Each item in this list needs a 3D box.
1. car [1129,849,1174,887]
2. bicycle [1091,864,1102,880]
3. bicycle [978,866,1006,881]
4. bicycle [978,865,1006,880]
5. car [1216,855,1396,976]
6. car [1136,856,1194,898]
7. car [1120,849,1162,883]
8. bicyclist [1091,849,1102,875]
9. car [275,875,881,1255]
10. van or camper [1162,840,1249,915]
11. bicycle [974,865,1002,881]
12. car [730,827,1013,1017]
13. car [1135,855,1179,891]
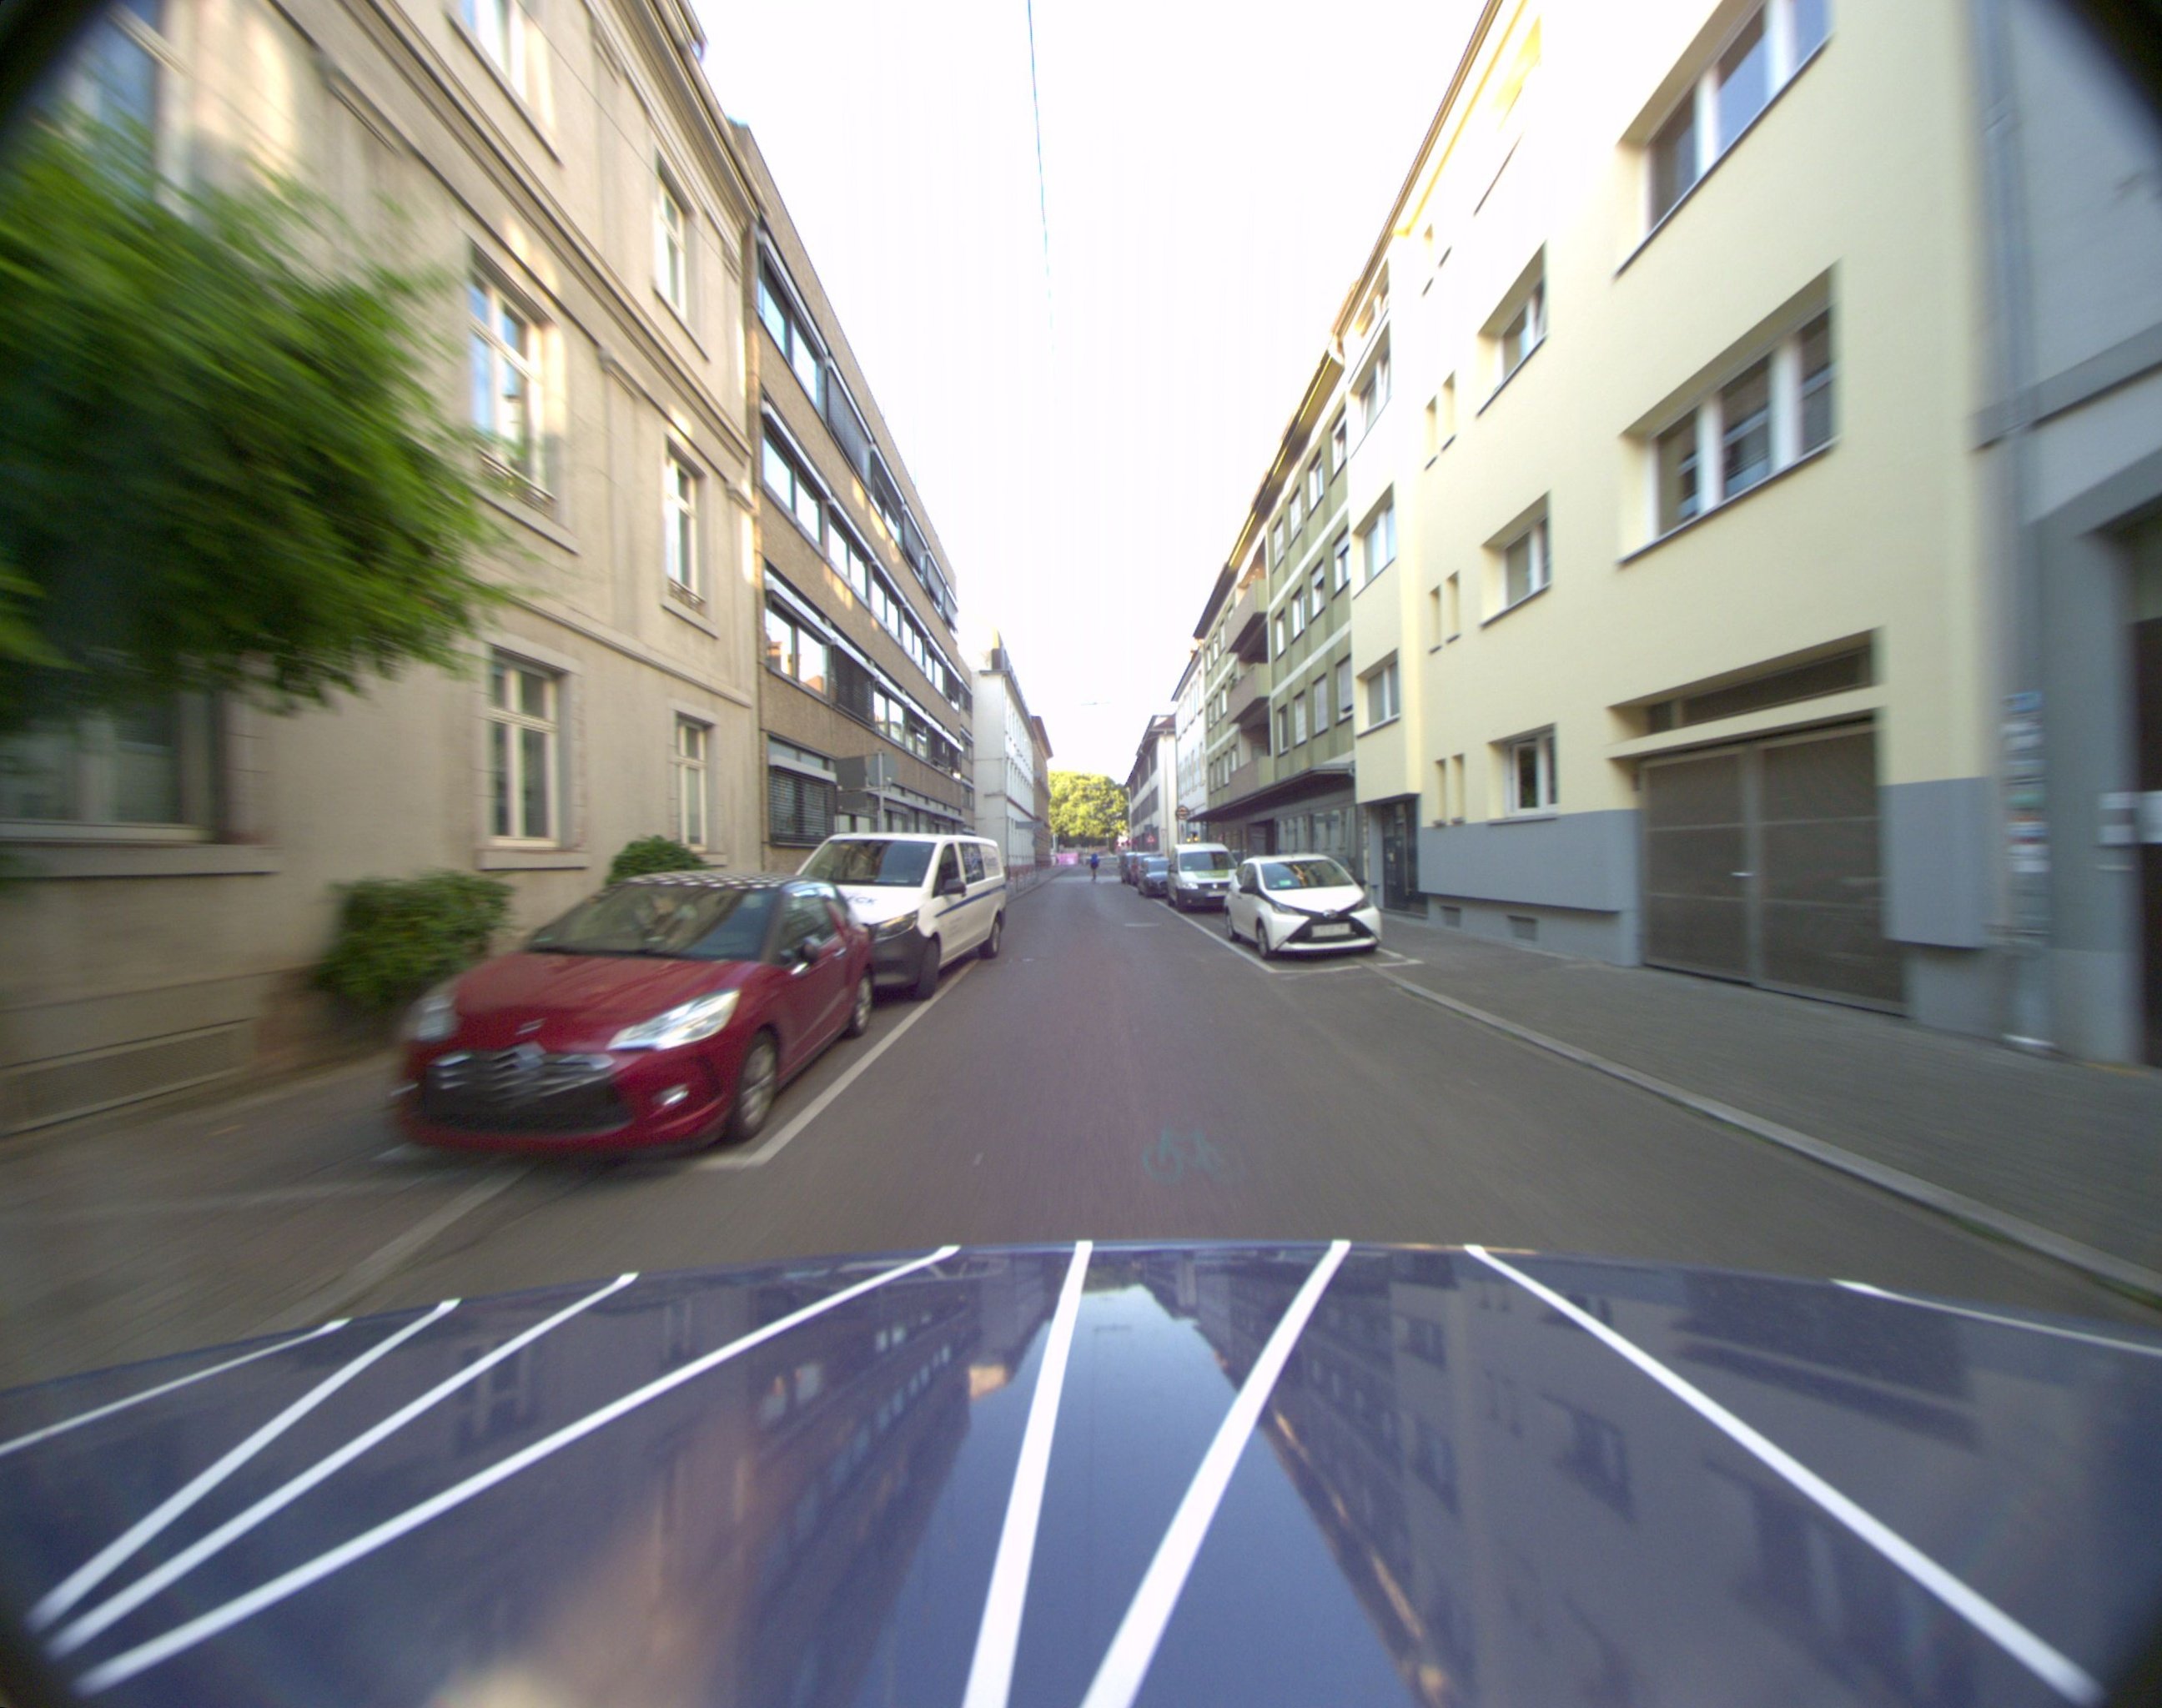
[{"bbox_3d":[3.560,0.678,39.108,1.777,1.800,4.510,-2,0,-1],"label":"car"},{"bbox_3d":[0.964,1.145,48.060,0.635,0.916,1.779,-2,0,1],"label":"bicycle"},{"bbox_3d":[-5.894,1.257,50.247,1.801,0.917,0.516,-2,1,-7],"label":"bicycle"},{"bbox_3d":[-5.944,1.257,50.817,1.800,0.917,0.396,-2,1,-3],"label":"bicycle"},{"bbox_3d":[3.275,0.814,11.754,1.666,1.440,3.520,-5,0,0],"label":"car"},{"bbox_3d":[3.114,0.811,28.835,1.628,1.407,3.980,-2,0,-1],"label":"car"},{"bbox_3d":[3.422,0.666,44.242,1.882,1.800,4.449,-2,0,-2],"label":"car"},{"bbox_3d":[1.000,0.490,48.038,0.625,1.630,1.081,-2,1,1],"label":"bicyclist"},{"bbox_3d":[-2.657,0.961,5.167,1.659,1.496,3.753,-1,0,-2],"label":"car"},{"bbox_3d":[3.318,0.579,20.949,1.776,1.837,4.178,-1,0,2],"label":"van or camper"},{"bbox_3d":[-5.932,1.215,48.675,1.744,0.917,0.538,-2,1,-6],"label":"bicycle"},{"bbox_3d":[-2.352,0.694,10.265,1.940,1.886,5.278,-1,0,5],"label":"car"},{"bbox_3d":[3.399,0.819,34.328,1.628,1.476,3.877,-1,0,1],"label":"car"}]
